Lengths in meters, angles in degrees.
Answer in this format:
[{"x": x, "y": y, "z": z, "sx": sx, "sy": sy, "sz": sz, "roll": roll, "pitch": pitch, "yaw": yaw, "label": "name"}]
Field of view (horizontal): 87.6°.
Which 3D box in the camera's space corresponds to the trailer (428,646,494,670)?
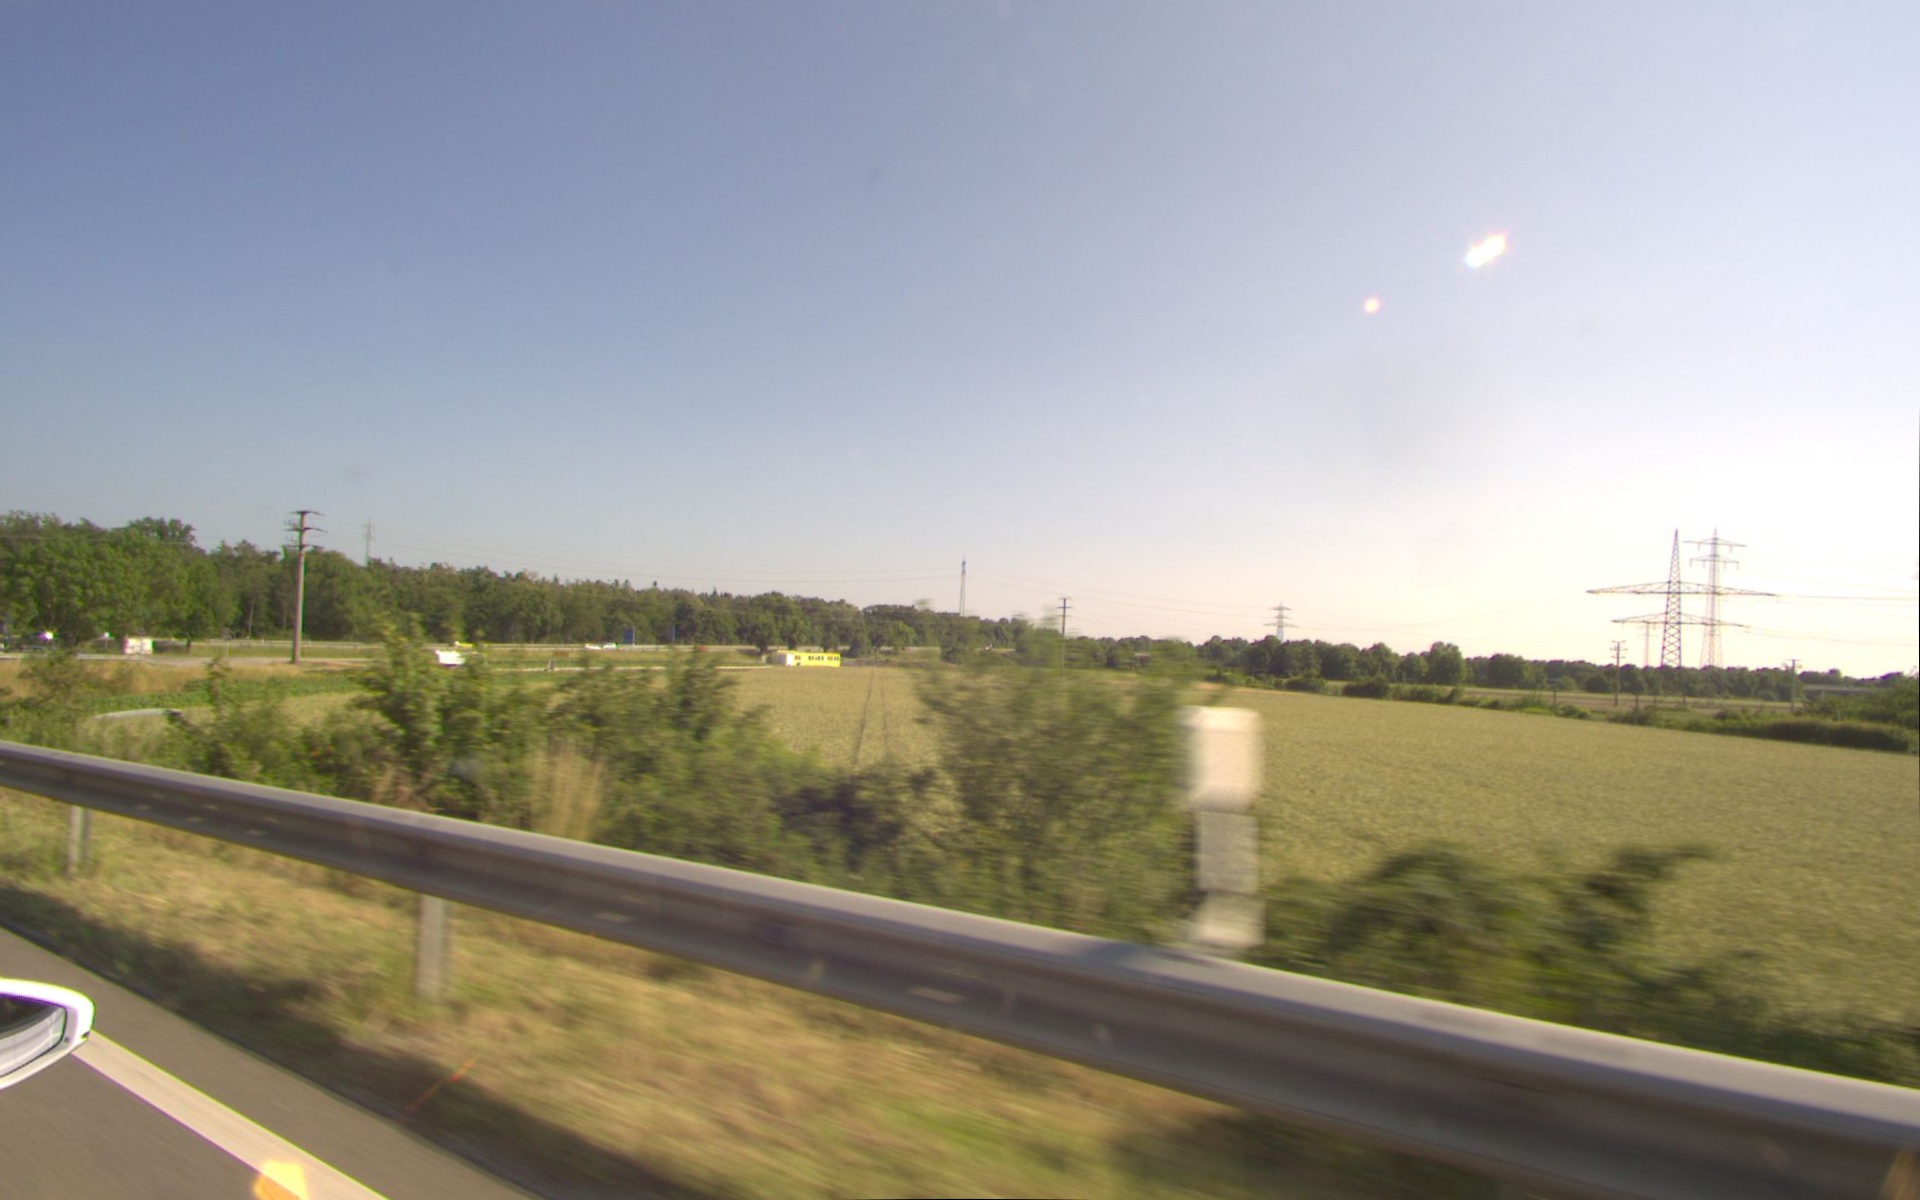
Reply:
[{"x": -62.250, "y": 7.265, "z": 125.025, "sx": 6.742, "sy": 2.703, "sz": 2.867, "roll": 5, "pitch": -4, "yaw": -42, "label": "trailer"}]
